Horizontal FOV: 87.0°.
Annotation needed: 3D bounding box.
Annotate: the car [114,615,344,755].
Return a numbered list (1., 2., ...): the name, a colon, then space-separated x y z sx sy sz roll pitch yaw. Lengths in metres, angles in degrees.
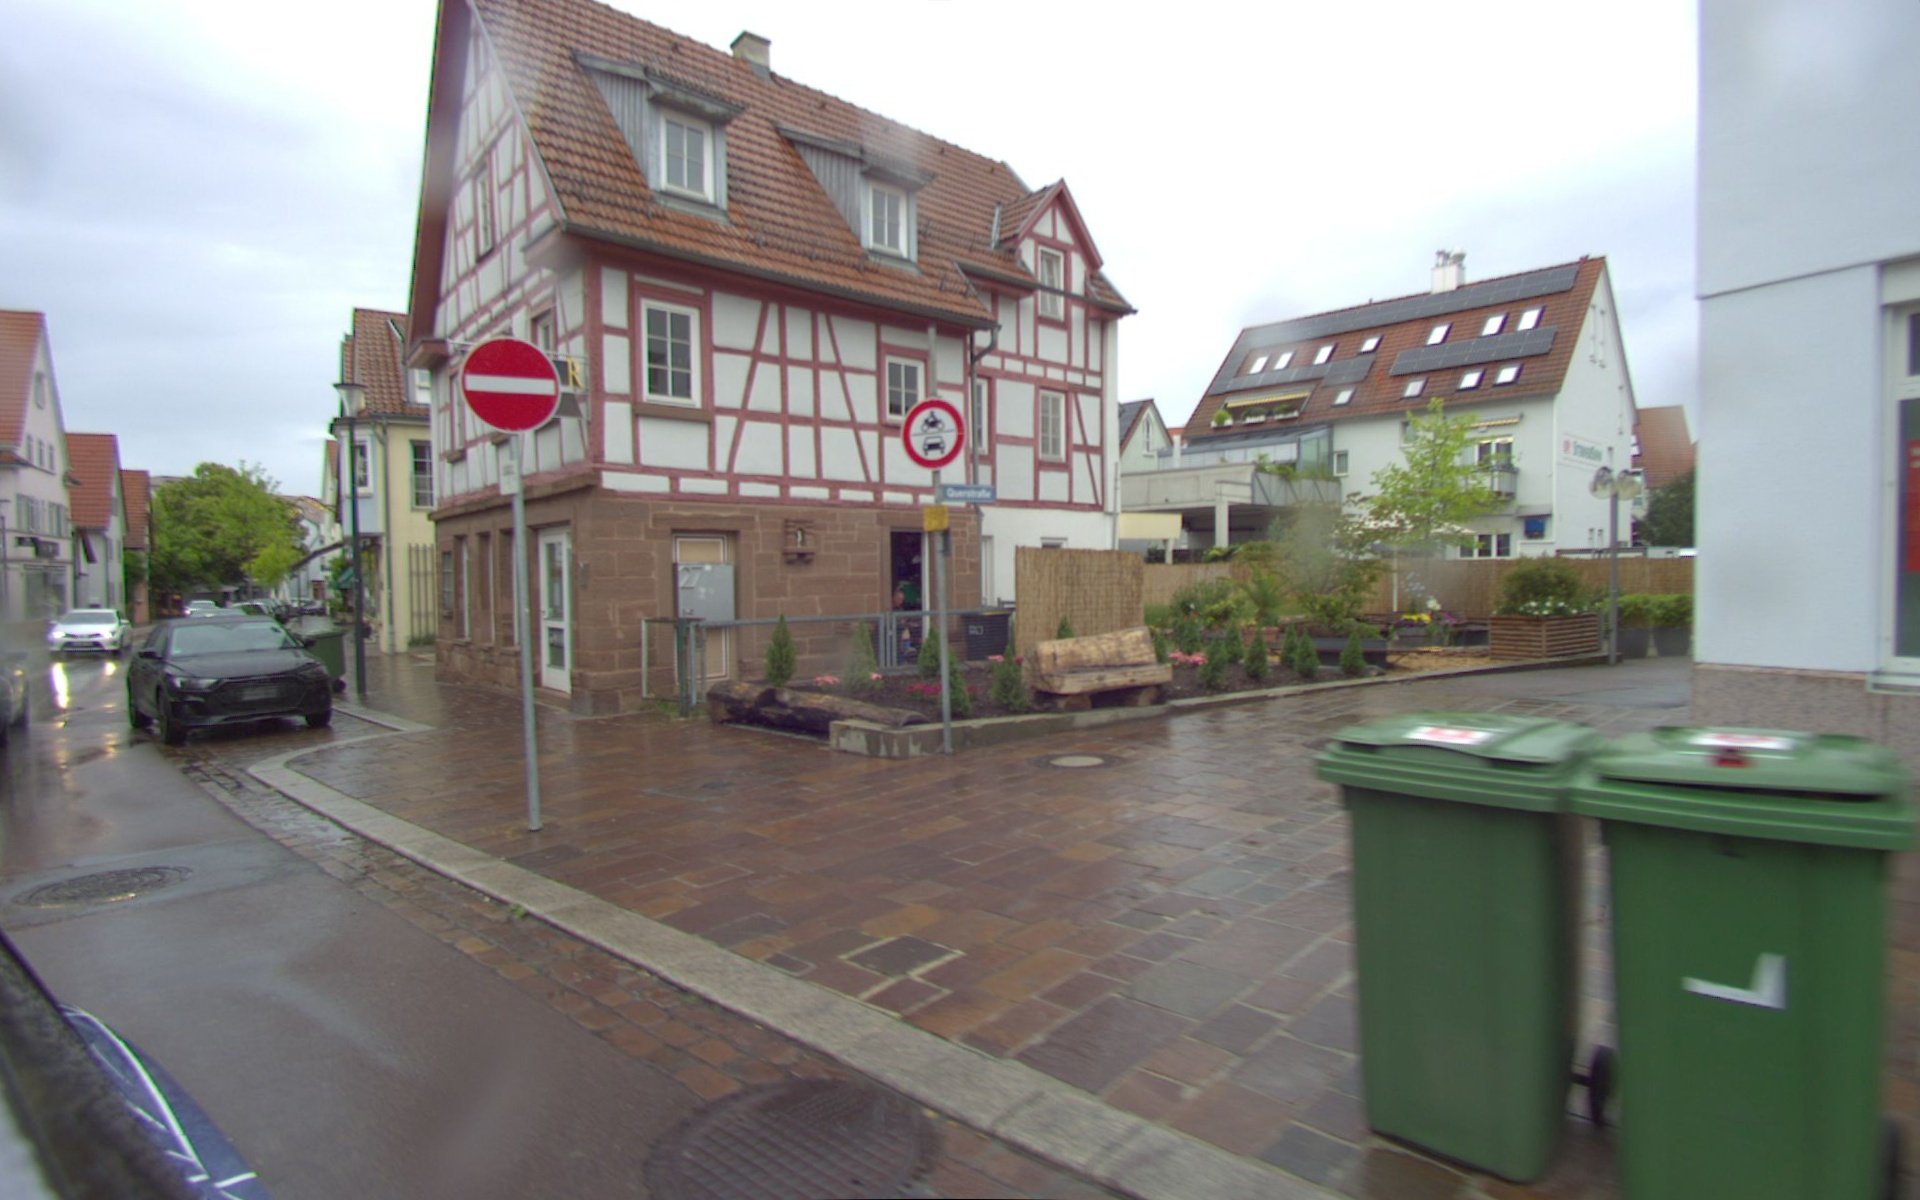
1. car: -9.700 0.978 13.310 4.002 1.453 1.782 -1 2 45

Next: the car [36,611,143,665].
1. car: -28.358 1.180 33.113 1.837 1.598 4.628 -1 0 -30

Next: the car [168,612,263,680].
1. car: -18.900 1.093 25.800 1.778 1.453 4.010 -3 2 -35

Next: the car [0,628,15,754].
1. car: -12.819 1.066 12.151 4.446 1.380 1.854 -1 0 43

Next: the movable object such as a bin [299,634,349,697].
1. movable object such as a bin: -10.890 1.111 17.330 0.530 1.030 0.604 -1 0 41

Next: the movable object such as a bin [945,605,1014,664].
1. movable object such as a bin: 0.296 0.513 15.328 0.755 0.863 0.700 -1 0 41

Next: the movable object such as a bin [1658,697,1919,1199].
1. movable object such as a bin: 1.883 0.775 2.094 0.644 1.059 0.688 -1 0 41

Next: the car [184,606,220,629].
1. car: -51.786 1.169 69.195 1.838 1.471 4.010 -1 0 -34

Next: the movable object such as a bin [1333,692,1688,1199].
1. movable object such as a bin: 1.390 0.802 2.541 0.644 1.055 0.688 -1 0 41
